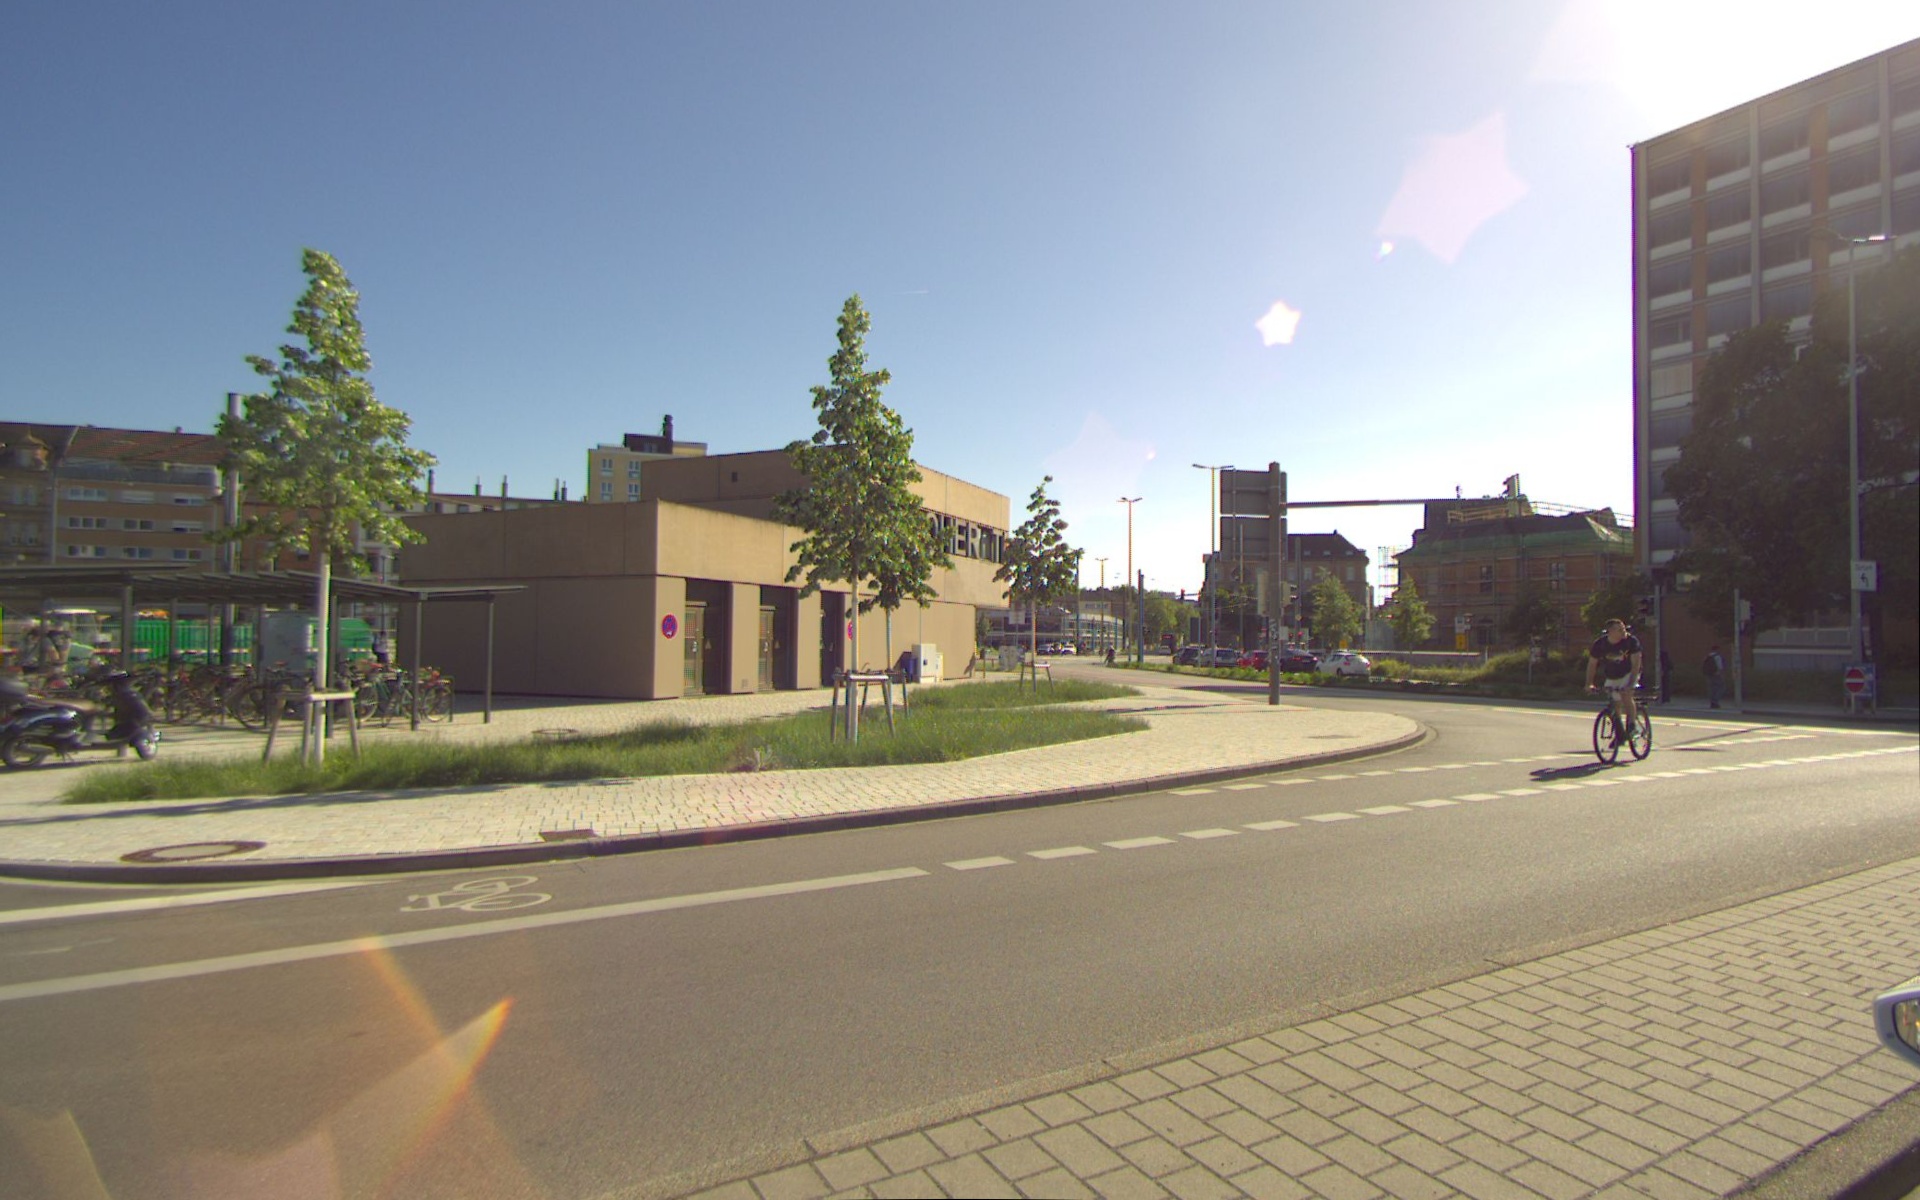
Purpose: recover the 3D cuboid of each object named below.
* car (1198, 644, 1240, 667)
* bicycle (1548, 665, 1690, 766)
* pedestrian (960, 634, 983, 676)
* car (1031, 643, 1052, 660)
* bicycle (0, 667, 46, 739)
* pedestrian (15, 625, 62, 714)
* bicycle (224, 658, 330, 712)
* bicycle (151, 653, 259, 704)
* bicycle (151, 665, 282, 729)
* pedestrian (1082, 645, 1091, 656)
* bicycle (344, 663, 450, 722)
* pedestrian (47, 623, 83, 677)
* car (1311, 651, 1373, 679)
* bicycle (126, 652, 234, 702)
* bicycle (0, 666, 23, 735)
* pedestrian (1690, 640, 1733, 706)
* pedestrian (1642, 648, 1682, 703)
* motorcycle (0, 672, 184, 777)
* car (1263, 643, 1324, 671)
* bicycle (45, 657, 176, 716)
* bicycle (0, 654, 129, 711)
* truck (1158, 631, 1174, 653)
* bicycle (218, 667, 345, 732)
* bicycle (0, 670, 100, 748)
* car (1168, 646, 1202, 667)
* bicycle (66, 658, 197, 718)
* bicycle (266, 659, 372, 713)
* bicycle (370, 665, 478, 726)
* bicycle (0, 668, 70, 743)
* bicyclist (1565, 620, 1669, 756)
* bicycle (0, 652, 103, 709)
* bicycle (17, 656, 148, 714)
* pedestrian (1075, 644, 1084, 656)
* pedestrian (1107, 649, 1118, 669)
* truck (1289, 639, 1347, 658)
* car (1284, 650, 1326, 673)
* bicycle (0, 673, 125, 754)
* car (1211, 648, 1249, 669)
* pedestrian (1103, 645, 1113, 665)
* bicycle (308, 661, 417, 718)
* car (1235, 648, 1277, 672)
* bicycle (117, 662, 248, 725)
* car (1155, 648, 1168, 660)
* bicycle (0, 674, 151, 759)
[{"bbox_3d":[17.573,3.758,68.305,1.697,1.461,3.798,1,-2,-3],"label":"car"},{"bbox_3d":[8.374,1.429,12.749,1.848,1.180,0.742,2,-3,-30],"label":"bicycle"},{"bbox_3d":[0.487,2.353,42.798,0.778,1.745,0.594,-2,-5,38],"label":"pedestrian"},{"bbox_3d":[11.113,7.020,136.611,1.960,2.040,4.001,2,0,16],"label":"car"},{"bbox_3d":[-14.598,1.517,14.643,0.557,1.051,1.788,-1,-3,22],"label":"bicycle"},{"bbox_3d":[-18.412,1.373,20.090,0.613,1.746,0.674,2,-2,-40],"label":"pedestrian"},{"bbox_3d":[-14.102,1.732,20.801,0.557,1.051,1.788,-1,-3,22],"label":"bicycle"},{"bbox_3d":[-16.196,1.672,21.599,0.557,1.051,1.788,-1,-3,22],"label":"bicycle"},{"bbox_3d":[-12.951,1.663,17.554,0.557,1.051,1.788,-1,-3,22],"label":"bicycle"},{"bbox_3d":[16.377,6.511,130.043,0.855,1.427,0.688,2,0,-32],"label":"pedestrian"},{"bbox_3d":[-10.643,1.728,19.068,0.557,1.051,1.788,-1,-3,22],"label":"bicycle"},{"bbox_3d":[-26.104,1.449,29.300,0.550,1.538,0.588,0,-2,25],"label":"pedestrian"},{"bbox_3d":[21.265,3.598,56.065,1.665,1.454,3.733,1,-2,-7],"label":"car"},{"bbox_3d":[-16.873,1.652,21.784,0.557,1.051,1.788,-1,-3,22],"label":"bicycle"},{"bbox_3d":[-15.213,1.518,14.928,0.557,1.051,1.788,-1,-3,22],"label":"bicycle"},{"bbox_3d":[21.752,2.117,29.082,1.086,1.856,0.748,4,-3,-38],"label":"pedestrian"},{"bbox_3d":[21.176,2.262,30.310,0.668,1.633,0.719,1,-2,0],"label":"pedestrian"},{"bbox_3d":[-10.933,1.502,12.477,0.584,1.134,1.983,0,-2,26],"label":"motorcycle"},{"bbox_3d":[20.862,3.536,62.967,1.953,1.645,4.374,1,-2,-7],"label":"car"},{"bbox_3d":[-15.889,1.595,18.848,0.557,1.051,1.788,-1,-3,22],"label":"bicycle"},{"bbox_3d":[-17.190,1.566,19.327,0.557,1.051,1.788,-1,-3,22],"label":"bicycle"},{"bbox_3d":[36.494,7.452,178.165,2.549,3.723,5.229,2,0,10],"label":"truck"},{"bbox_3d":[-11.682,1.690,17.357,0.557,1.051,1.788,-1,-3,22],"label":"bicycle"},{"bbox_3d":[-13.338,1.529,14.145,0.557,1.051,1.788,-1,-3,22],"label":"bicycle"},{"bbox_3d":[16.813,4.218,75.124,1.696,1.461,3.912,3,-3,2],"label":"car"},{"bbox_3d":[-15.247,1.598,18.551,0.557,1.051,1.788,-1,-3,22],"label":"bicycle"},{"bbox_3d":[-12.931,1.717,20.331,0.557,1.051,1.788,-1,-3,22],"label":"bicycle"},{"bbox_3d":[-9.854,1.740,18.540,0.557,1.051,1.788,-1,-3,22],"label":"bicycle"},{"bbox_3d":[-14.021,1.518,14.402,0.557,1.051,1.788,-1,-3,22],"label":"bicycle"},{"bbox_3d":[8.324,1.092,12.733,0.966,1.642,0.716,2,-3,-30],"label":"bicyclist"},{"bbox_3d":[-17.871,1.542,19.498,0.557,1.051,1.788,-1,-3,22],"label":"bicycle"},{"bbox_3d":[-16.629,1.588,19.090,0.557,1.051,1.788,-1,-3,22],"label":"bicycle"},{"bbox_3d":[15.441,6.463,129.476,0.855,1.427,0.688,2,0,-32],"label":"pedestrian"},{"bbox_3d":[12.402,4.806,81.769,0.566,1.632,0.565,2,0,-30],"label":"pedestrian"},{"bbox_3d":[46.348,6.227,130.098,6.755,2.343,2.219,1,-2,-7],"label":"truck"},{"bbox_3d":[25.873,4.620,75.450,1.846,1.638,3.626,2,-3,0],"label":"car"},{"bbox_3d":[-12.789,1.556,13.921,0.557,1.051,1.788,-1,-3,22],"label":"bicycle"},{"bbox_3d":[20.251,4.397,75.501,1.697,1.461,3.799,3,-3,-2],"label":"car"},{"bbox_3d":[12.433,4.635,84.369,0.643,1.632,0.676,2,0,-4],"label":"pedestrian"},{"bbox_3d":[-11.653,1.731,19.652,0.558,1.051,1.785,-2,-4,30],"label":"bicycle"},{"bbox_3d":[20.346,4.113,69.179,1.644,1.461,3.722,3,-3,-2],"label":"car"},{"bbox_3d":[-13.846,1.637,17.956,0.557,1.051,1.788,-1,-3,22],"label":"bicycle"},{"bbox_3d":[29.999,7.984,149.734,1.750,1.565,3.642,2,0,13],"label":"car"},{"bbox_3d":[-12.191,1.546,13.660,0.557,1.051,1.788,-1,-3,22],"label":"bicycle"}]
